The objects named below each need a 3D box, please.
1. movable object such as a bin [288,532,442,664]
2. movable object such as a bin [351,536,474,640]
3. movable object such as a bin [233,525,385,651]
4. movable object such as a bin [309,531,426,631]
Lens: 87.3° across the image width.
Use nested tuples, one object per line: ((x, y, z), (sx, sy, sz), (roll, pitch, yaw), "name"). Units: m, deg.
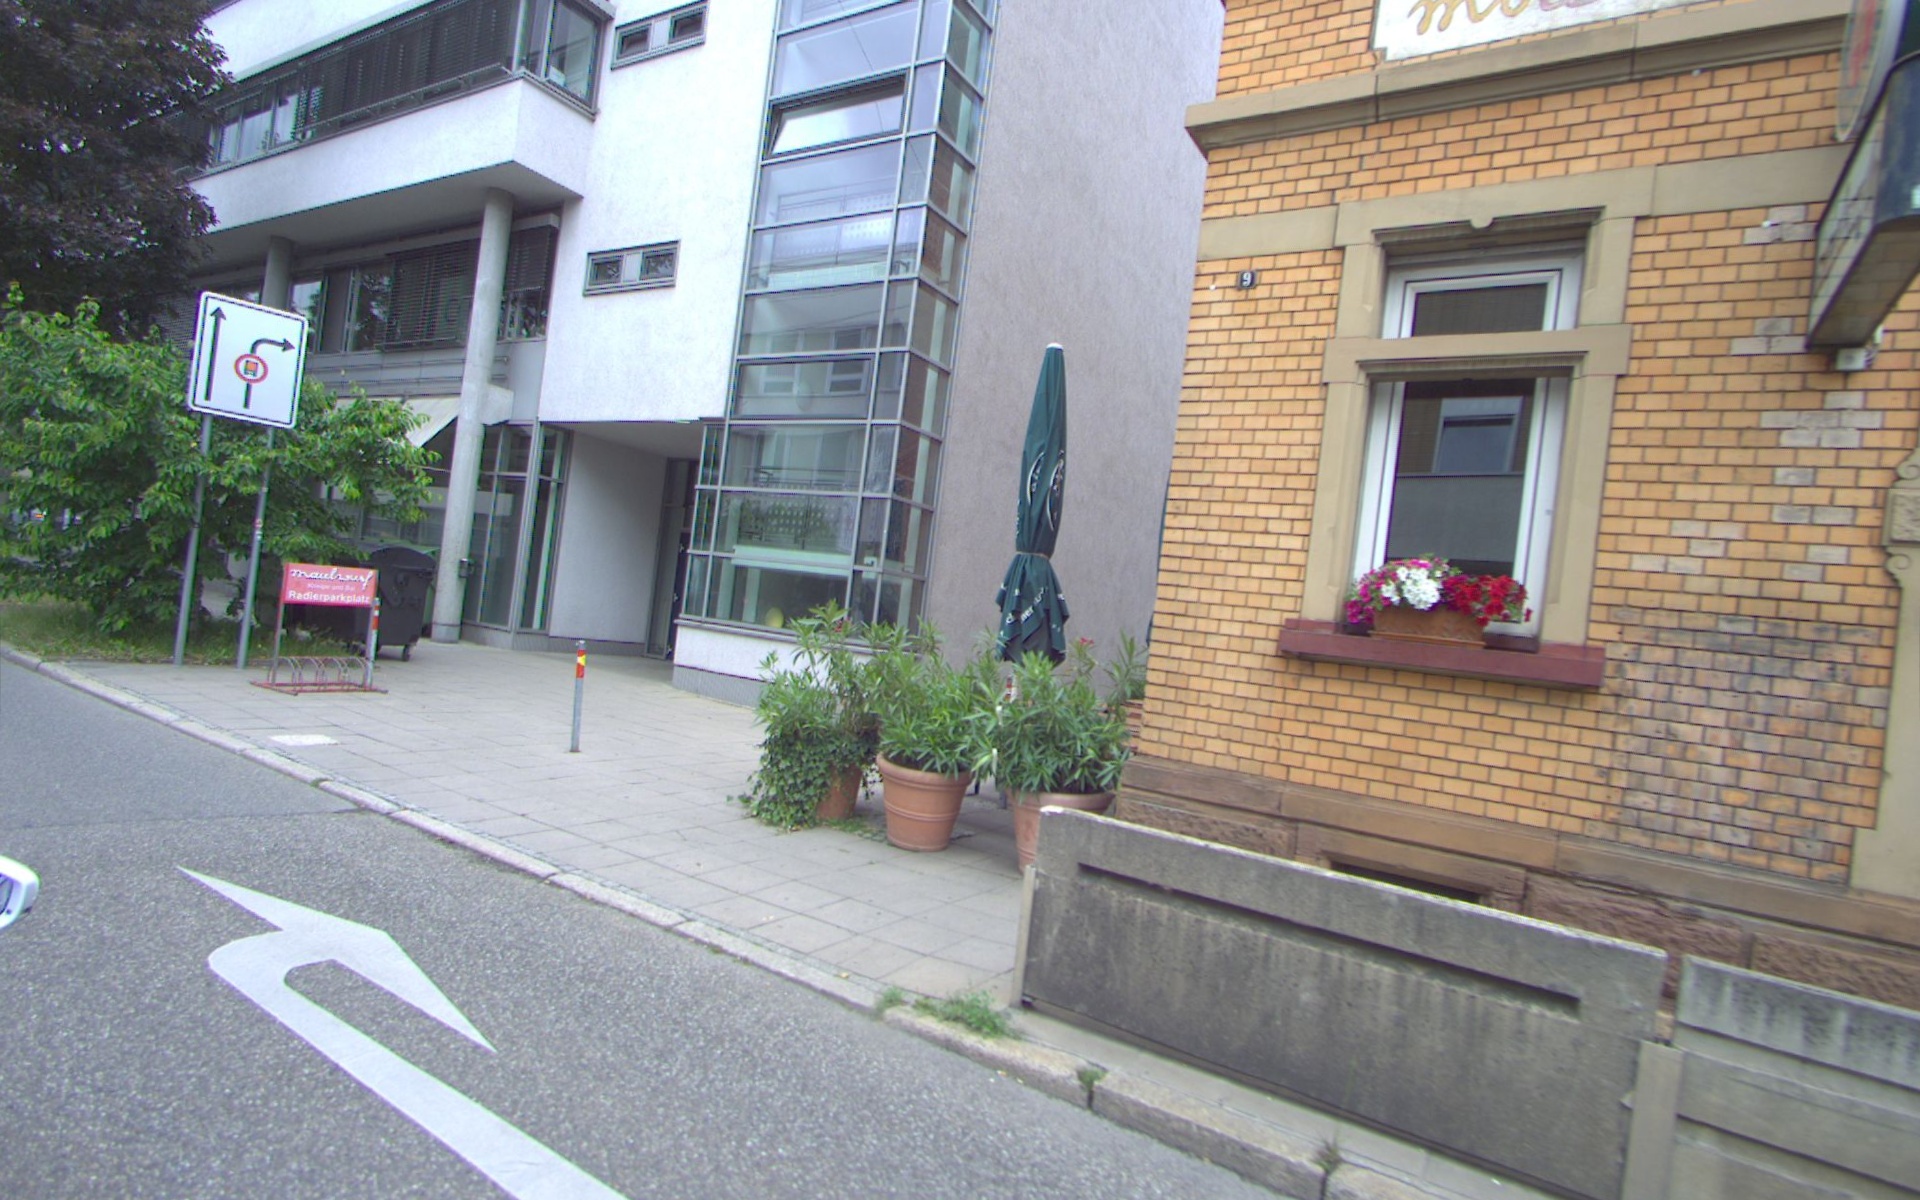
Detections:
((-7.579, -0.014, 12.825), (1.311, 1.484, 1.099), (7, 1, 31), "movable object such as a bin")
((-8.840, -0.184, 16.262), (1.311, 1.484, 1.123), (7, 1, 31), "movable object such as a bin")
((-8.735, -0.154, 13.508), (1.389, 1.484, 1.128), (7, 1, 31), "movable object such as a bin")
((-9.979, -0.313, 16.953), (1.311, 1.484, 1.099), (7, 1, 31), "movable object such as a bin")
